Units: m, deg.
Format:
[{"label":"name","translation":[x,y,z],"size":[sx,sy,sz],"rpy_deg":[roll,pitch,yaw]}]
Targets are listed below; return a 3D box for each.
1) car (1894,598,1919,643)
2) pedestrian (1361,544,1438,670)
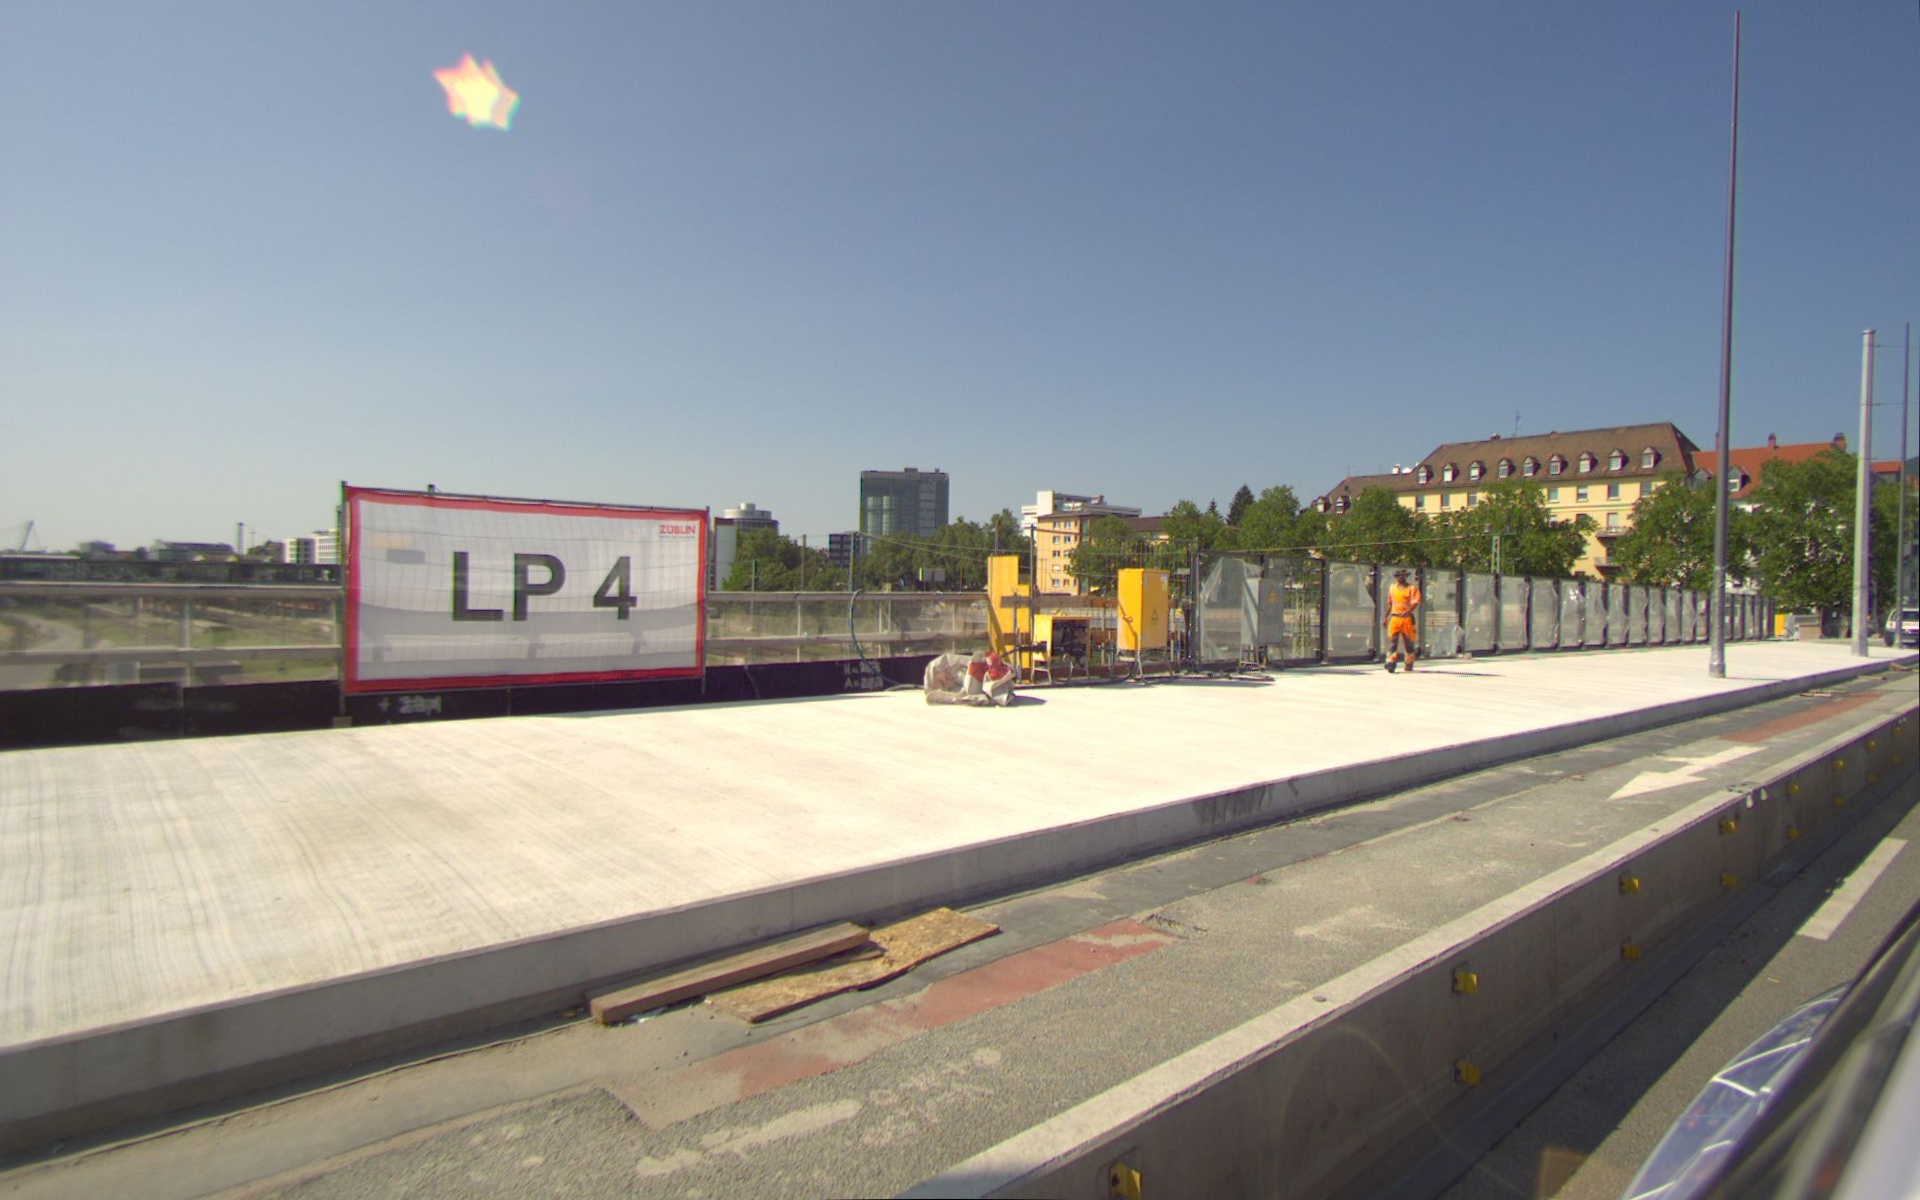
[{"label":"car","translation":[47.558,1.047,49.490],"size":[6.353,2.117,1.937],"rpy_deg":[2,0,-40]},{"label":"pedestrian","translation":[7.205,0.102,16.574],"size":[0.998,1.989,0.733],"rpy_deg":[1,2,-41]}]
